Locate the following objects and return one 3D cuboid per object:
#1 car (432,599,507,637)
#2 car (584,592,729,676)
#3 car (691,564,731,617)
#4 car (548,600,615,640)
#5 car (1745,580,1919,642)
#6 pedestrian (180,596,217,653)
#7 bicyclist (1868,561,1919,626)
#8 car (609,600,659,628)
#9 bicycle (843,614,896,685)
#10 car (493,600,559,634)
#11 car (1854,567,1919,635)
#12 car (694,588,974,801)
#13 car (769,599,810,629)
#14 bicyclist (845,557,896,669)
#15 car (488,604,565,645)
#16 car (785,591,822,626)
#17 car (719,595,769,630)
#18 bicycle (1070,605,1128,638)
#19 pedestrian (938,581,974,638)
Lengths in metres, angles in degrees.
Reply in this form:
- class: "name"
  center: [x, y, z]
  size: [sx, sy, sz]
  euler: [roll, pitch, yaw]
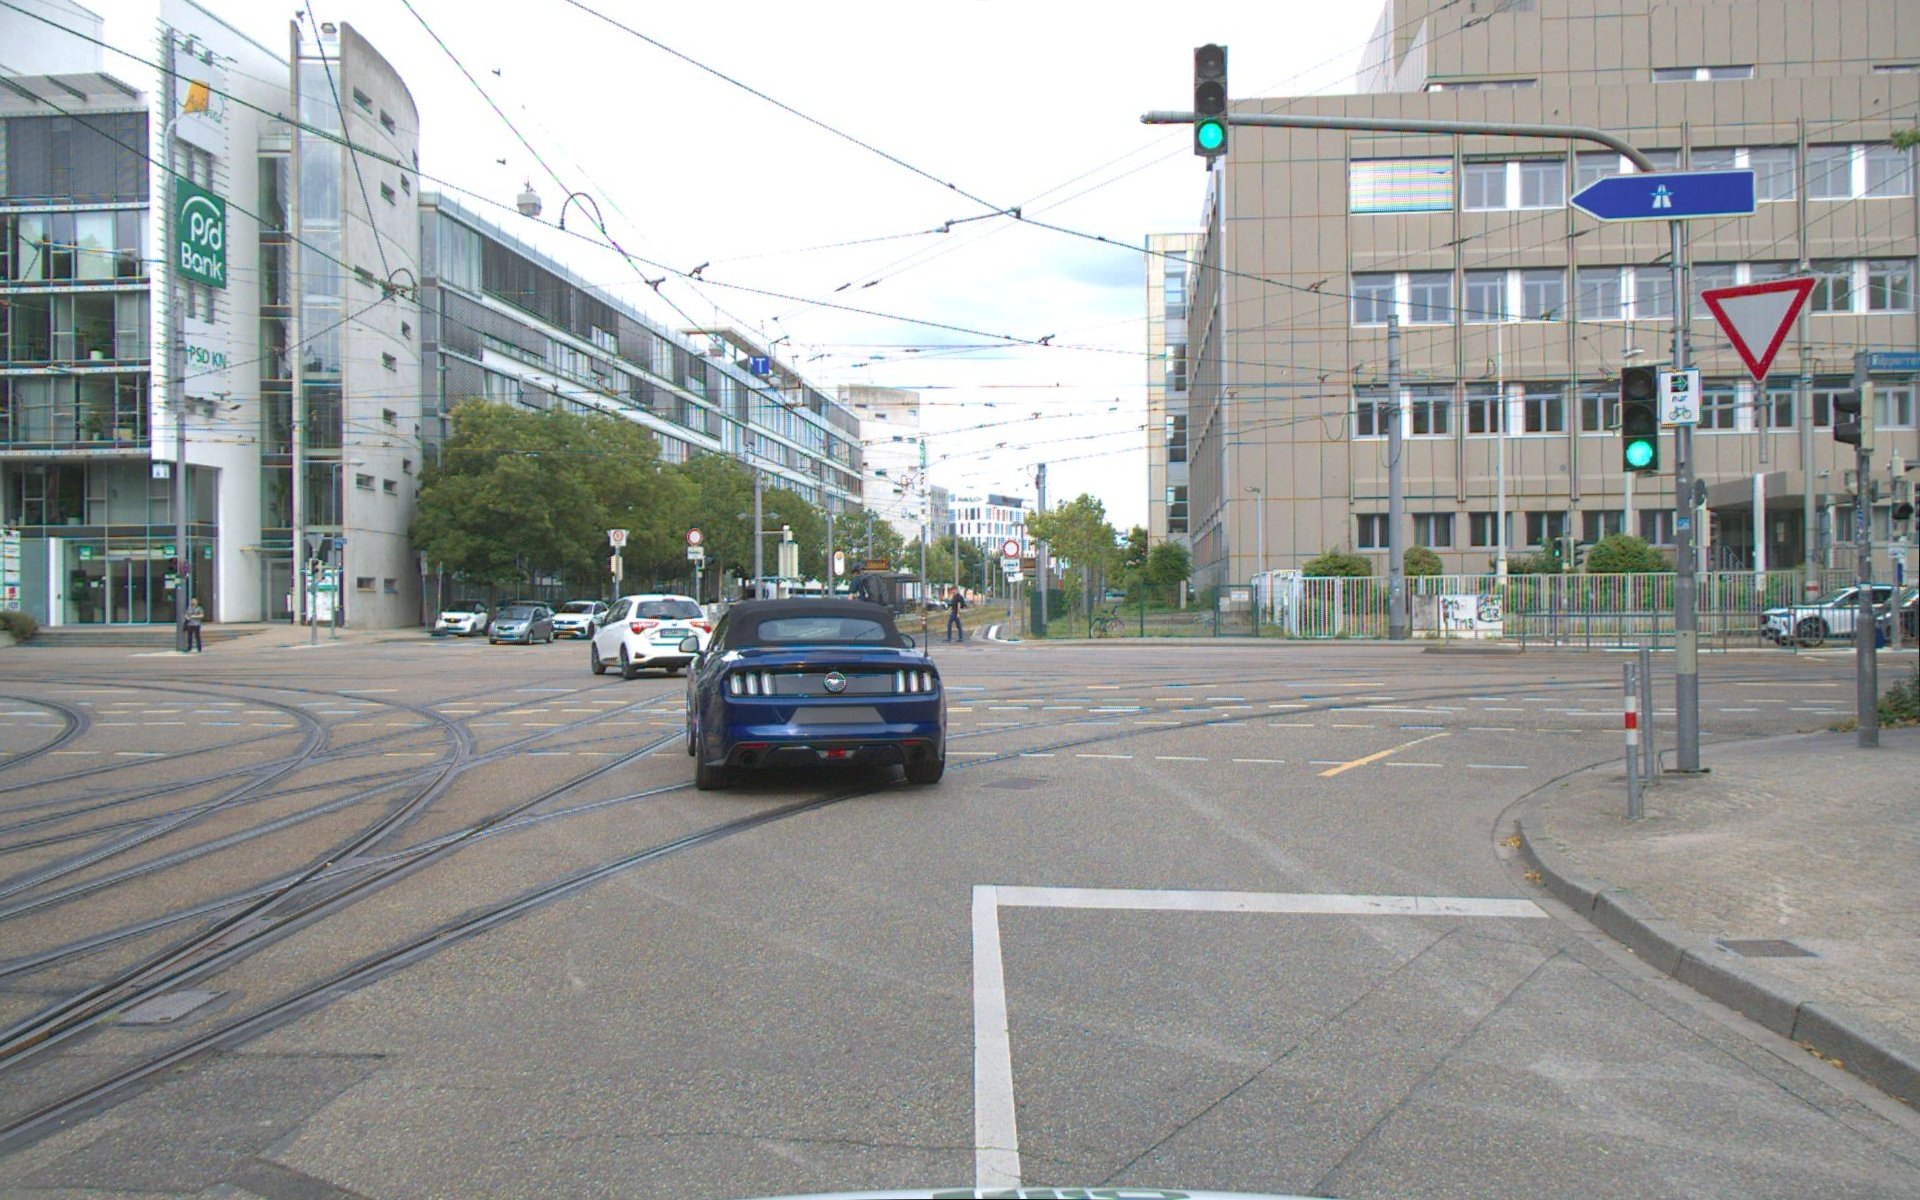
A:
- class: "car"
  center: [-22.136, 0.787, 74.728]
  size: [1.791, 1.584, 4.219]
  euler: [1, 0, 5]
- class: "car"
  center: [-5.834, 0.614, 31.417]
  size: [1.811, 1.464, 4.156]
  euler: [-1, 0, -24]
- class: "car"
  center: [-17.878, -0.695, 119.153]
  size: [1.945, 3.700, 4.514]
  euler: [1, 0, 2]
- class: "car"
  center: [-16.948, 0.870, 74.212]
  size: [1.679, 1.689, 4.135]
  euler: [1, 0, 5]
- class: "car"
  center: [22.605, 0.274, 42.127]
  size: [4.312, 1.531, 2.002]
  euler: [0, 0, 7]
- class: "pedestrian"
  center: [-25.779, 0.831, 55.990]
  size: [0.816, 1.897, 0.766]
  euler: [-1, 0, 13]
- class: "bicyclist"
  center: [25.123, -0.172, 44.476]
  size: [1.155, 1.731, 0.802]
  euler: [0, 0, 25]
- class: "car"
  center: [-19.679, 0.822, 99.973]
  size: [1.945, 1.584, 4.514]
  euler: [1, 0, 2]
- class: "bicycle"
  center: [-1.485, 0.804, 27.562]
  size: [0.784, 1.105, 2.131]
  euler: [-1, 0, -1]
- class: "car"
  center: [-21.478, 0.842, 81.988]
  size: [1.791, 1.584, 4.219]
  euler: [1, 0, 5]
- class: "car"
  center: [23.822, 0.009, 39.132]
  size: [4.312, 1.594, 1.839]
  euler: [0, 0, 10]
- class: "car"
  center: [-1.186, 0.644, 13.394]
  size: [1.842, 1.428, 4.272]
  euler: [1, 0, -10]
- class: "car"
  center: [-9.701, 0.780, 94.412]
  size: [1.829, 1.634, 4.213]
  euler: [-1, 0, 1]
- class: "bicyclist"
  center: [-1.493, 0.215, 27.662]
  size: [0.780, 1.817, 1.233]
  euler: [-1, 0, -1]
- class: "car"
  center: [-17.411, 0.961, 66.617]
  size: [1.632, 1.533, 4.237]
  euler: [1, 0, 5]
- class: "car"
  center: [-9.373, 0.496, 99.290]
  size: [1.748, 2.022, 4.121]
  euler: [-1, 0, 1]
- class: "car"
  center: [-10.513, 0.601, 80.769]
  size: [1.840, 1.657, 4.087]
  euler: [-1, 0, 1]
- class: "bicycle"
  center: [4.719, 0.740, 56.215]
  size: [0.628, 0.998, 2.127]
  euler: [0, -3, -40]
- class: "pedestrian"
  center: [-0.145, 0.340, 56.957]
  size: [1.062, 1.931, 0.902]
  euler: [-1, 0, 10]
